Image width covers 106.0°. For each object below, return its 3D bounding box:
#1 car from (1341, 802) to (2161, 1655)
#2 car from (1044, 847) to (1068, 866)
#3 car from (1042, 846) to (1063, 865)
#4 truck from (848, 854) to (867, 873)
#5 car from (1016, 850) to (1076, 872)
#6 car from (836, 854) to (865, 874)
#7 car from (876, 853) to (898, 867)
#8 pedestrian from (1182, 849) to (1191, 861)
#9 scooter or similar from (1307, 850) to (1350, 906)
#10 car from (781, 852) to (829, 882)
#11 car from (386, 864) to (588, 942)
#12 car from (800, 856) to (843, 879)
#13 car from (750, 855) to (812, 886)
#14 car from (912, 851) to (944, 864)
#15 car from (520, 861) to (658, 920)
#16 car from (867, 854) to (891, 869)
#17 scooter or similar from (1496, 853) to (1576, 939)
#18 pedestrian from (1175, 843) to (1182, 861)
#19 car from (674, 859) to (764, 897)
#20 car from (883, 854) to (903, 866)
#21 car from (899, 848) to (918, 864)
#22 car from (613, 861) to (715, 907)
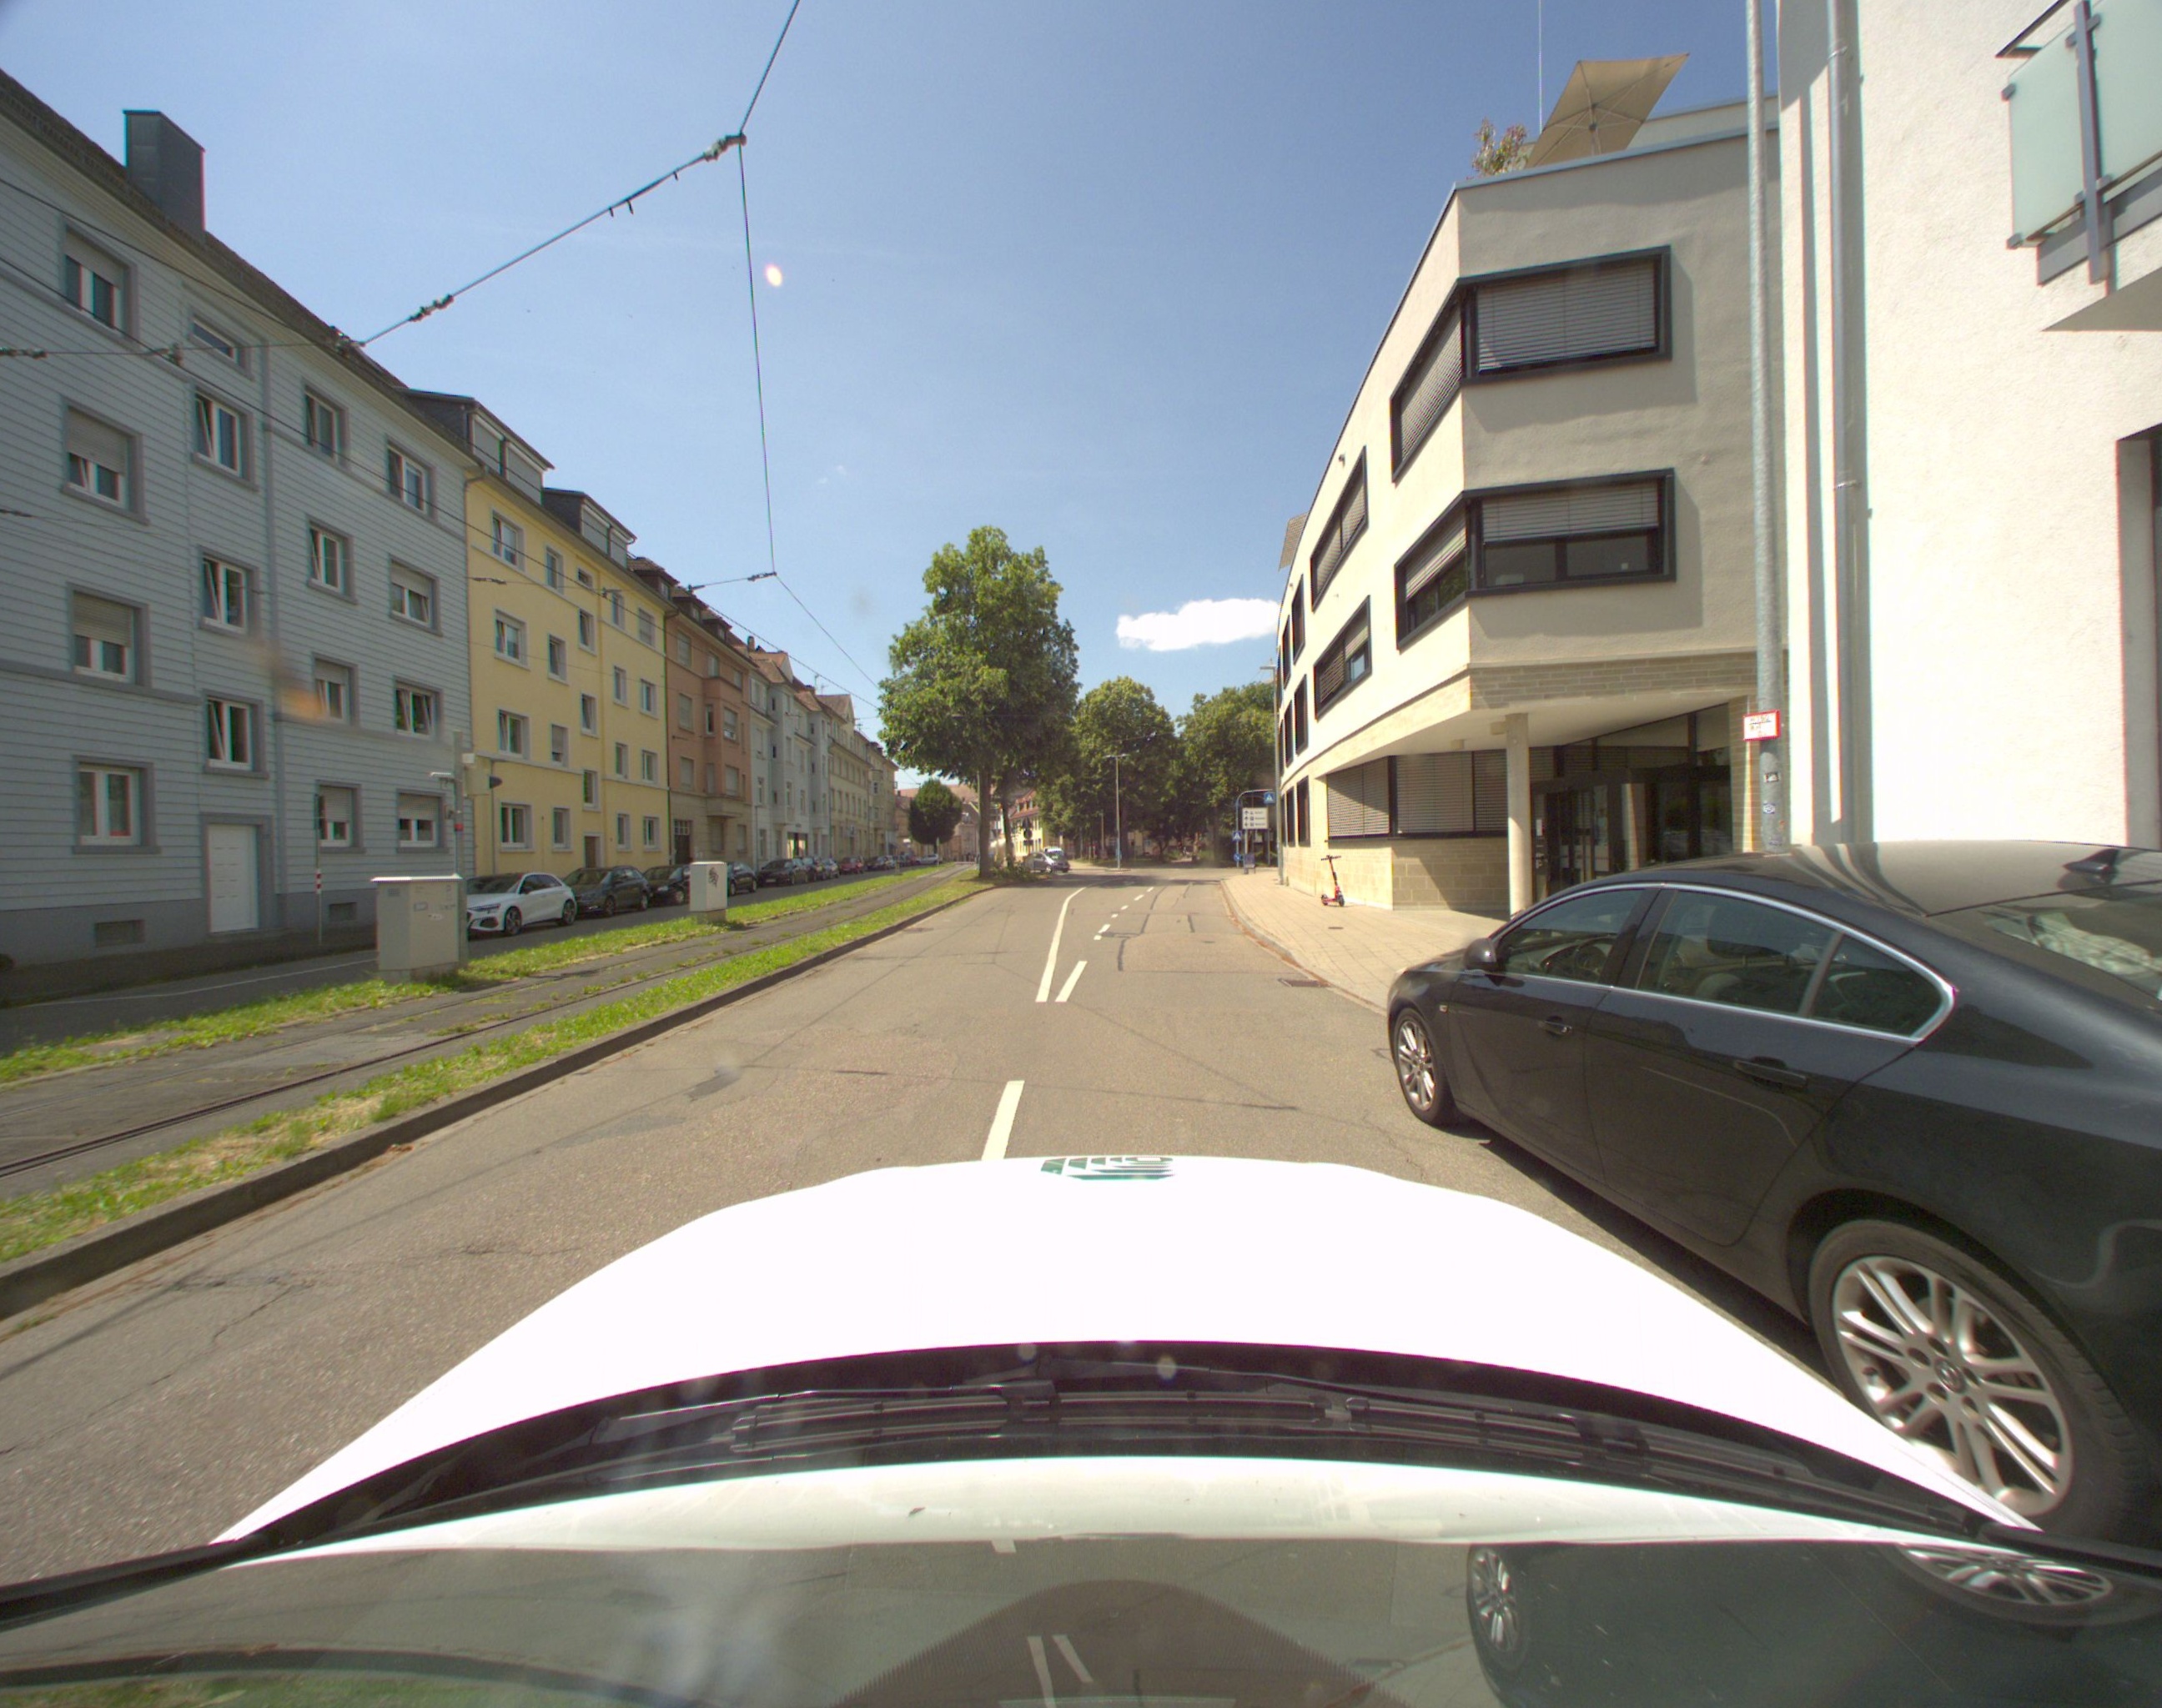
[{"bbox_3d":[2.749,0.653,3.152,1.795,1.509,4.543,-4,0,-2],"label":"car"},{"bbox_3d":[-2.488,0.186,80.232,1.991,1.826,4.413,0,0,-6],"label":"car"},{"bbox_3d":[-3.154,0.166,88.619,2.045,2.002,5.241,0,0,-4],"label":"car"},{"bbox_3d":[-19.092,0.801,69.632,1.125,1.494,2.588,-2,1,-7],"label":"truck"},{"bbox_3d":[-2.618,0.489,60.453,4.188,1.534,1.922,0,0,35],"label":"car"},{"bbox_3d":[-18.456,0.785,65.374,1.569,1.451,3.618,-2,1,-6],"label":"car"},{"bbox_3d":[-20.439,0.614,86.043,1.684,1.390,3.850,-2,1,-6],"label":"car"},{"bbox_3d":[11.698,0.092,90.536,0.900,1.252,1.151,0,2,10],"label":"pedestrian"},{"bbox_3d":[5.927,0.563,19.568,0.579,1.260,1.367,-3,0,0],"label":"scooter or similar"},{"bbox_3d":[-16.985,0.780,50.317,1.834,1.685,4.134,-2,1,-6],"label":"car"},{"bbox_3d":[-13.835,1.061,19.359,1.926,1.451,4.365,-3,1,-8],"label":"car"},{"bbox_3d":[-17.462,0.901,54.979,1.805,1.356,4.242,-2,1,-6],"label":"car"},{"bbox_3d":[-16.408,0.870,44.815,1.925,1.490,4.854,-2,1,-6],"label":"car"},{"bbox_3d":[-20.838,0.503,110.798,4.203,1.505,1.997,-3,0,-10],"label":"car"},{"bbox_3d":[-14.694,1.016,24.644,1.926,1.505,4.315,-2,1,-8],"label":"car"},{"bbox_3d":[-19.938,0.719,80.502,1.684,1.360,3.850,-2,1,-6],"label":"car"},{"bbox_3d":[6.806,0.597,12.248,0.421,1.211,1.314,-1,0,-2],"label":"scooter or similar"},{"bbox_3d":[10.918,-0.222,90.886,0.743,1.910,0.686,0,1,9],"label":"pedestrian"},{"bbox_3d":[-15.387,0.965,34.926,1.924,1.398,4.855,-2,1,-4],"label":"car"},{"bbox_3d":[-20.933,0.646,90.877,1.684,1.277,3.282,-2,1,-6],"label":"car"},{"bbox_3d":[-22.202,0.197,104.855,1.851,1.911,4.762,-2,1,-6],"label":"car"},{"bbox_3d":[-14.939,1.023,29.435,1.828,1.400,4.135,-2,1,-5],"label":"car"}]
